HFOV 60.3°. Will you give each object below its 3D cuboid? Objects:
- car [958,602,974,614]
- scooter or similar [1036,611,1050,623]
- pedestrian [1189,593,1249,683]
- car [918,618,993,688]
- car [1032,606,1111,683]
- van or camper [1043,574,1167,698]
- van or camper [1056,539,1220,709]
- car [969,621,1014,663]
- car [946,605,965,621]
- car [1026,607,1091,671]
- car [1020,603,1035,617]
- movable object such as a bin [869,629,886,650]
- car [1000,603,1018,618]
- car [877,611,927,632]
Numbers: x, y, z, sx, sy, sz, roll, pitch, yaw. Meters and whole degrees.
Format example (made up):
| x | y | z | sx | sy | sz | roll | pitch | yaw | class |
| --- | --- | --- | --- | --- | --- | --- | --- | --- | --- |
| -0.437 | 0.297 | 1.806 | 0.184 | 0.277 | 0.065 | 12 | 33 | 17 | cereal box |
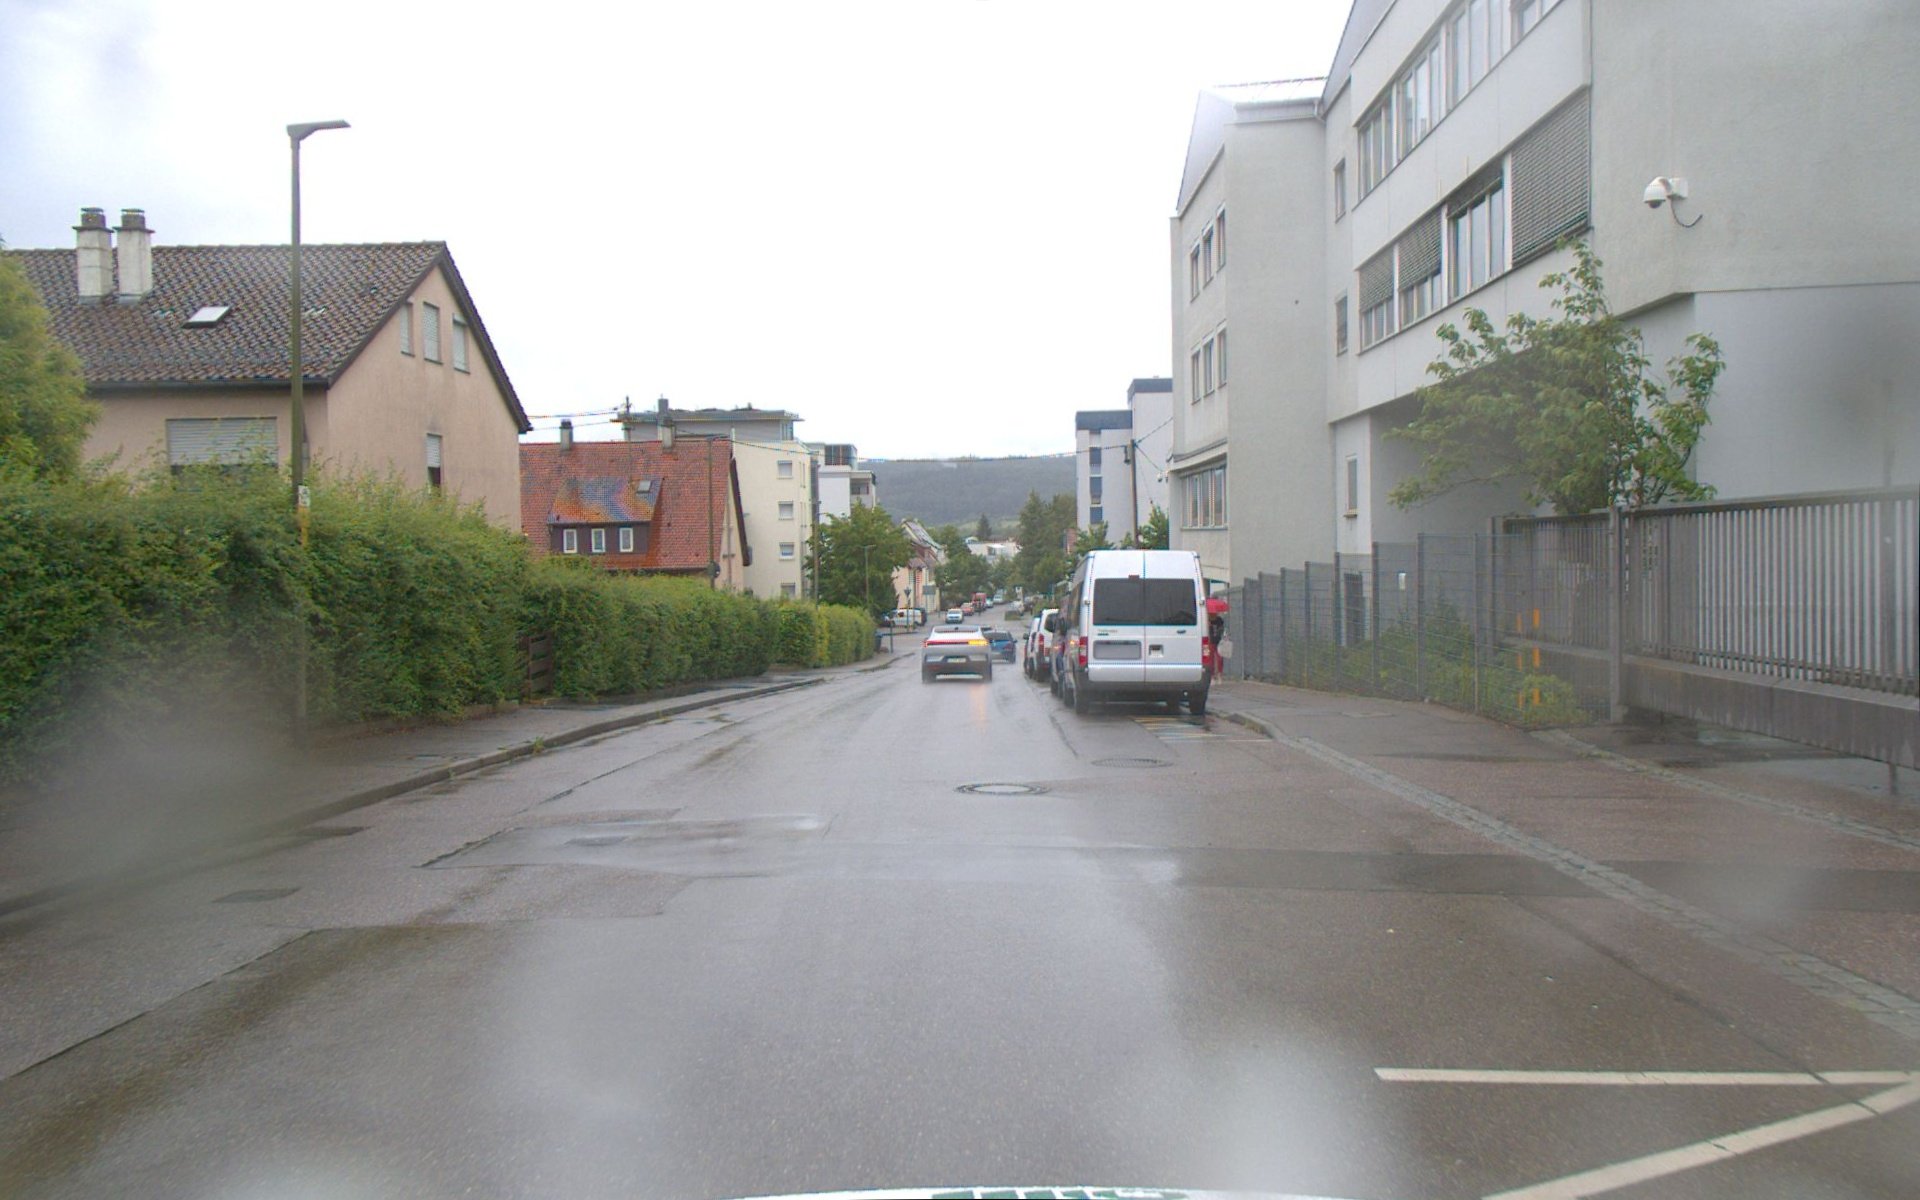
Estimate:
| x | y | z | sx | sy | sz | roll | pitch | yaw | class |
| --- | --- | --- | --- | --- | --- | --- | --- | --- | --- |
| 0.826 | 1.086 | 224.525 | 1.862 | 1.586 | 4.193 | -3 | 0 | 2 | car |
| 7.982 | 1.661 | 158.496 | 1.243 | 1.100 | 0.876 | -3 | 0 | -3 | scooter or similar |
| 5.376 | 0.774 | 34.383 | 1.003 | 1.789 | 1.031 | -3 | 0 | -1 | pedestrian |
| -0.132 | 1.449 | 46.629 | 1.953 | 1.713 | 4.000 | -3 | 0 | 0 | car |
| 3.013 | 1.201 | 45.563 | 1.952 | 1.969 | 4.976 | -2 | -1 | 2 | car |
| 2.725 | 0.674 | 32.254 | 1.952 | 2.150 | 5.202 | -2 | -1 | 1 | van or camper |
| 2.632 | 0.363 | 25.698 | 1.952 | 2.282 | 5.441 | -2 | -1 | 1 | van or camper |
| 1.456 | 1.963 | 78.222 | 1.953 | 1.713 | 4.000 | -3 | 0 | 0 | car |
| -0.495 | 1.501 | 188.073 | 1.952 | 1.654 | 4.193 | -3 | 0 | 2 | car |
| 3.013 | 1.199 | 51.277 | 1.839 | 1.866 | 4.489 | -2 | -1 | 2 | car |
| 9.122 | 1.321 | 223.664 | 1.862 | 1.775 | 4.193 | -3 | 0 | 2 | car |
| -5.352 | 2.590 | 107.873 | 1.049 | 1.371 | 1.319 | 0 | -1 | -1 | movable object such as a bin |
| 6.005 | 1.245 | 201.688 | 2.101 | 1.617 | 4.129 | -3 | 0 | 2 | car |
| -5.879 | 2.196 | 168.013 | 4.793 | 1.867 | 1.974 | -3 | 0 | -37 | car |
